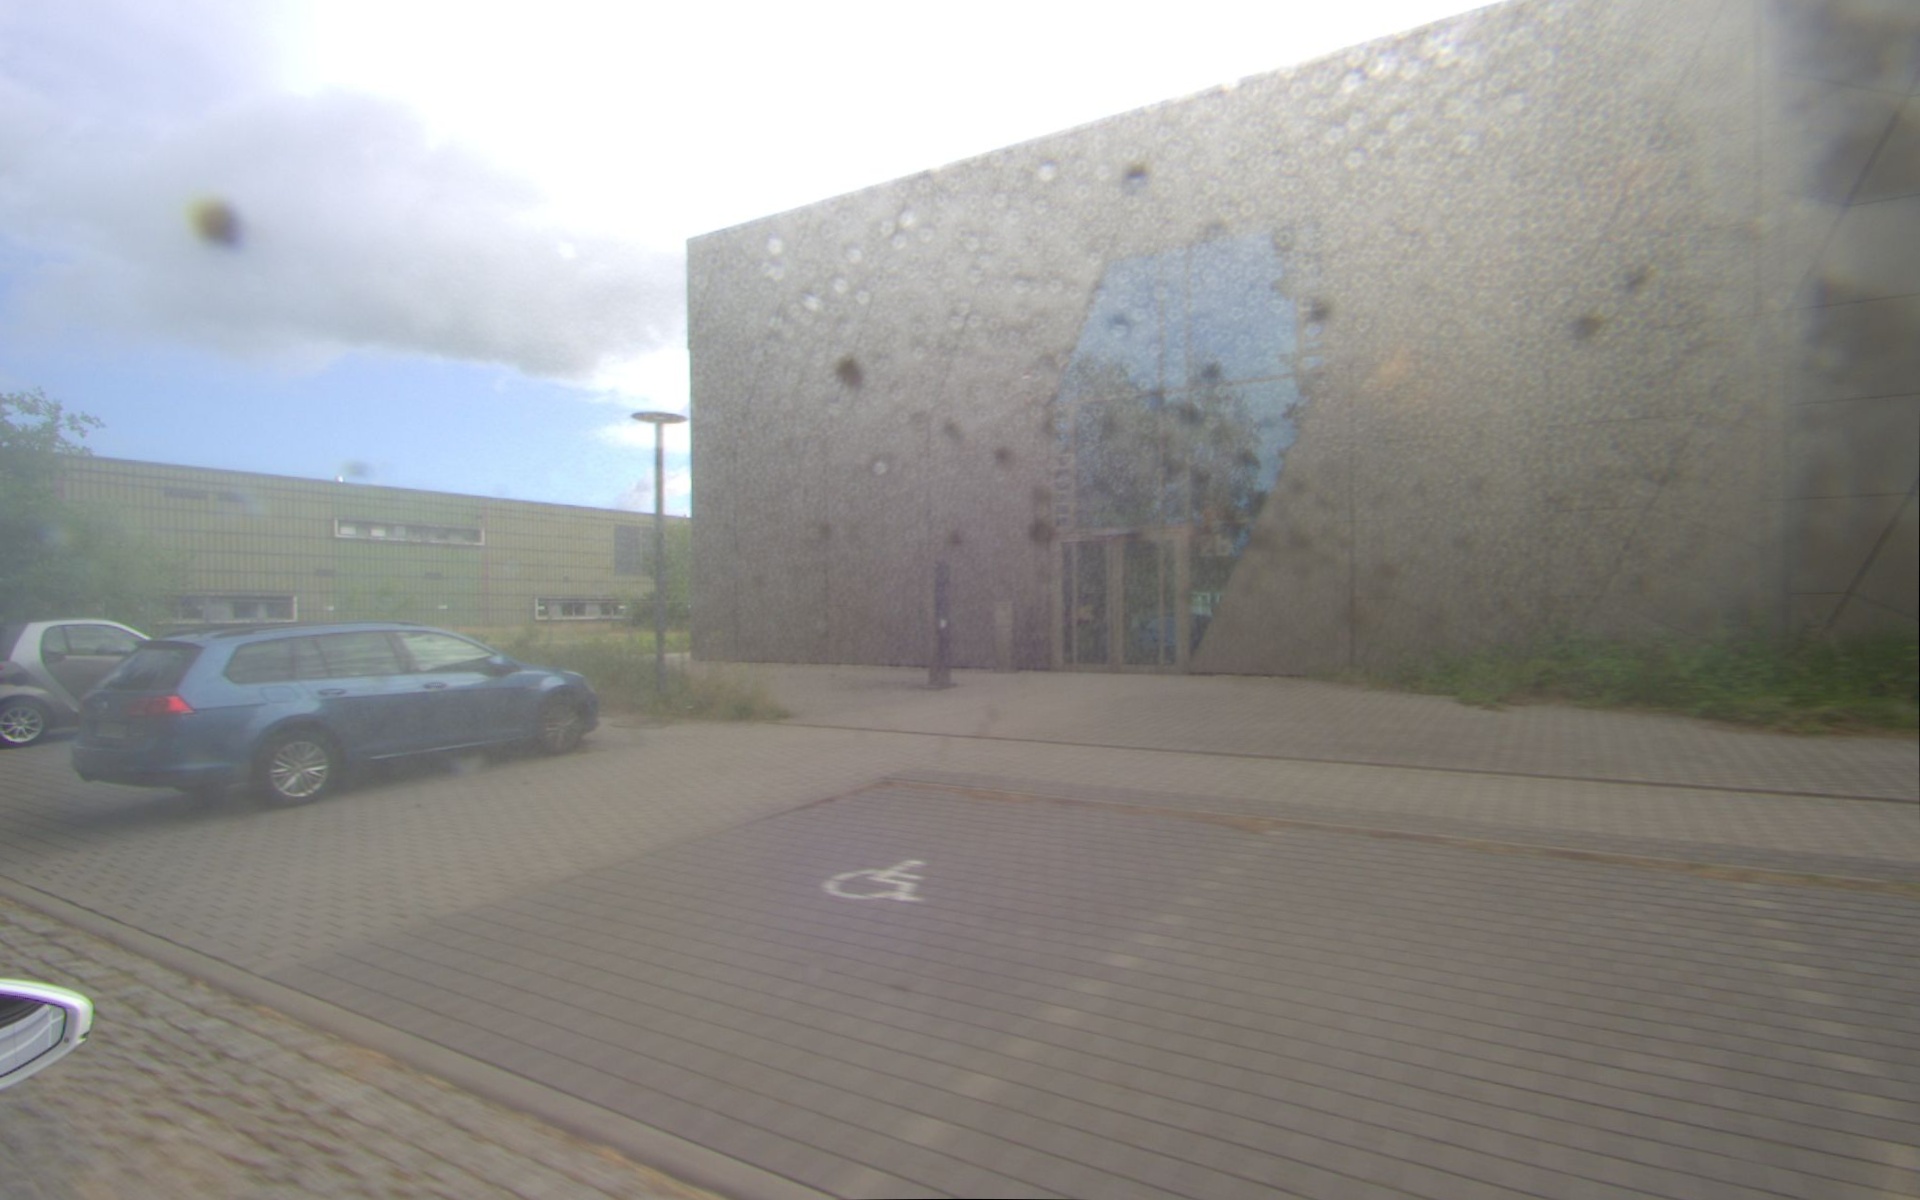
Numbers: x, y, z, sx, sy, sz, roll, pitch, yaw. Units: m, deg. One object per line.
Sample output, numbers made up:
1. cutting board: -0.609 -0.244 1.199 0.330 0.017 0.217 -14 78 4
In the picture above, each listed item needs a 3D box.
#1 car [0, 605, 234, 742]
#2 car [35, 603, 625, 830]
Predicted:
1. car: -11.729 0.909 13.496 1.630 1.577 2.703 0 2 33
2. car: -5.627 0.863 9.667 1.803 1.495 4.483 0 2 29
